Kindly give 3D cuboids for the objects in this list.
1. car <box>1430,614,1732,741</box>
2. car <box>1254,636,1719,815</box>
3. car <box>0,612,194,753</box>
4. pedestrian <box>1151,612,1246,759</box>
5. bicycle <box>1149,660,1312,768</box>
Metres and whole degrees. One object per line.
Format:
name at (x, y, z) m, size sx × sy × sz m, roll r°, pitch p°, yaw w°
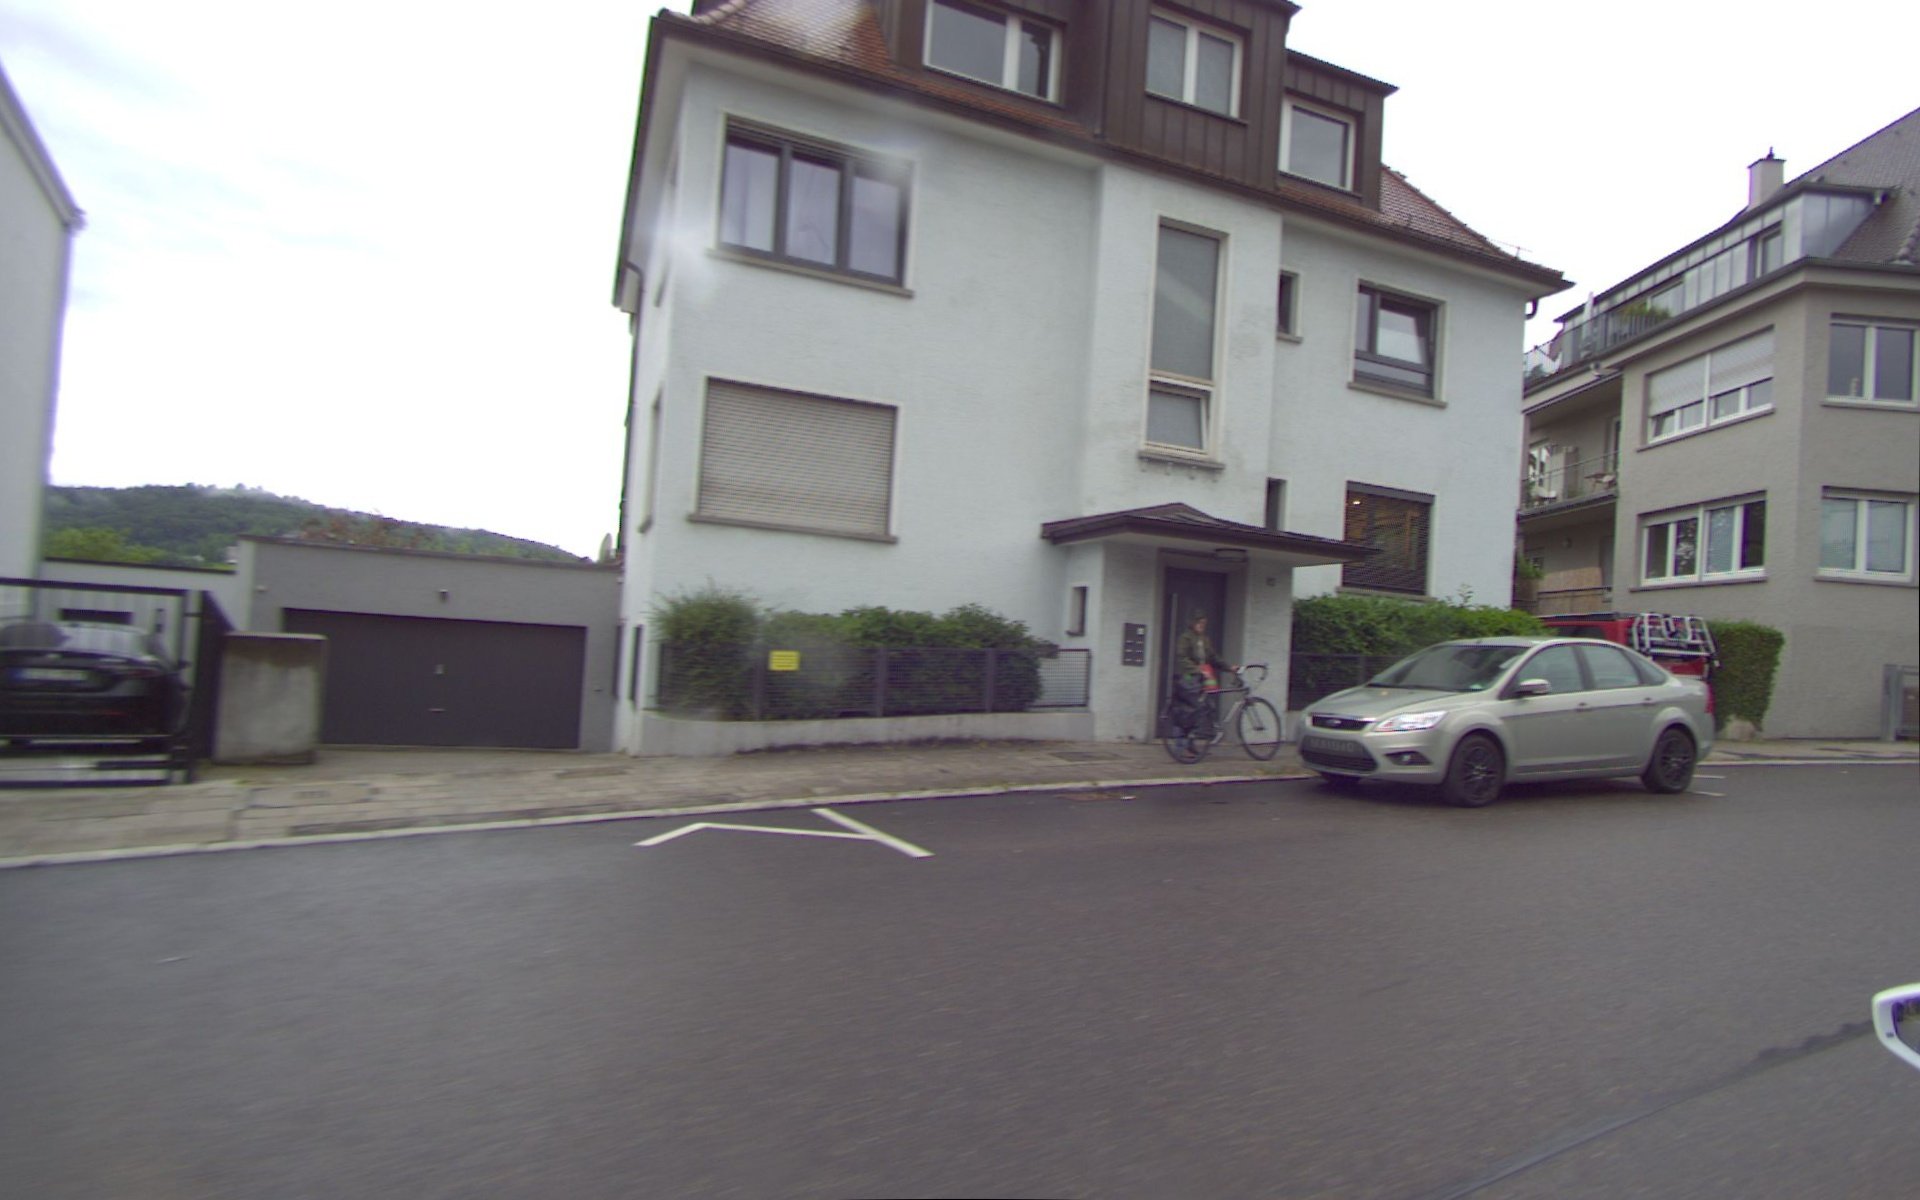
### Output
car at (10.211, 1.315, 16.917) m, size 1.967 × 1.846 × 3.989 m, roll 1°, pitch -5°, yaw -16°
car at (5.156, 1.103, 9.854) m, size 4.169 × 1.444 × 1.832 m, roll 1°, pitch -2°, yaw -23°
car at (-10.126, 1.012, 11.594) m, size 1.725 × 1.369 × 3.965 m, roll 5°, pitch -8°, yaw -34°
pedestrian at (2.717, 0.949, 11.448) m, size 0.935 × 1.598 × 0.491 m, roll 1°, pitch 0°, yaw -26°
bicycle at (2.996, 1.223, 11.069) m, size 1.896 × 1.081 × 0.454 m, roll 1°, pitch 0°, yaw -27°
